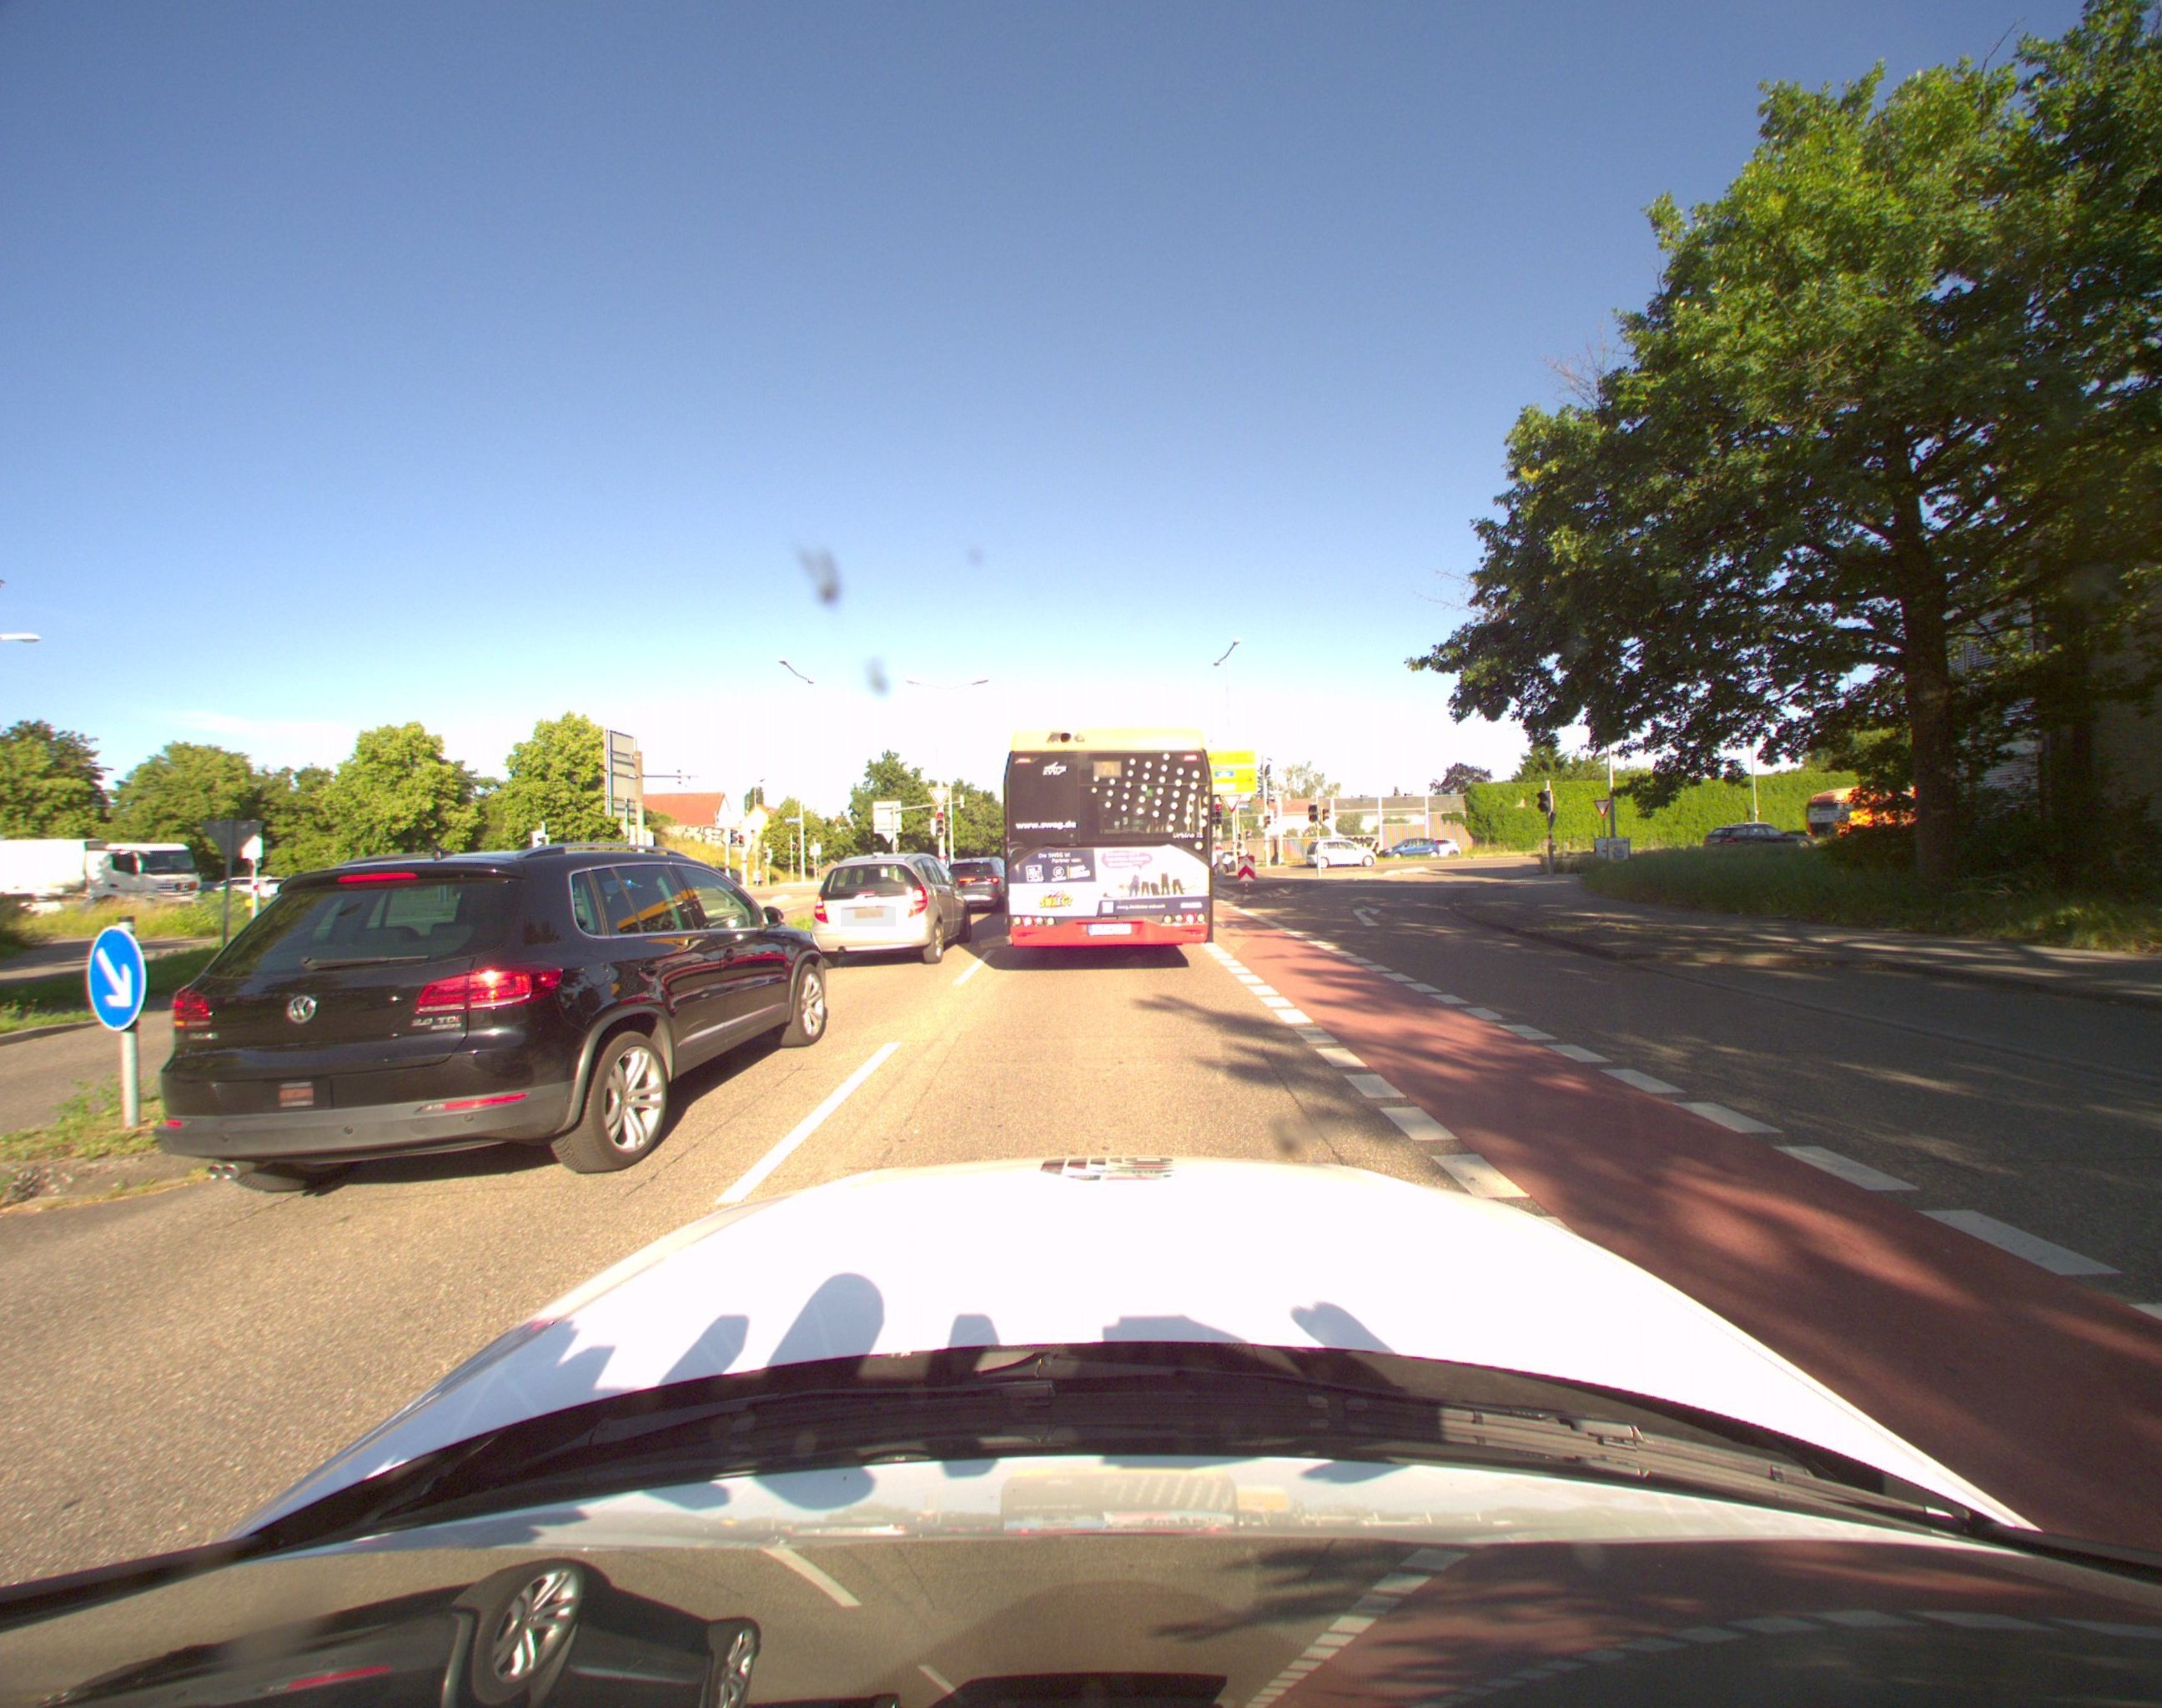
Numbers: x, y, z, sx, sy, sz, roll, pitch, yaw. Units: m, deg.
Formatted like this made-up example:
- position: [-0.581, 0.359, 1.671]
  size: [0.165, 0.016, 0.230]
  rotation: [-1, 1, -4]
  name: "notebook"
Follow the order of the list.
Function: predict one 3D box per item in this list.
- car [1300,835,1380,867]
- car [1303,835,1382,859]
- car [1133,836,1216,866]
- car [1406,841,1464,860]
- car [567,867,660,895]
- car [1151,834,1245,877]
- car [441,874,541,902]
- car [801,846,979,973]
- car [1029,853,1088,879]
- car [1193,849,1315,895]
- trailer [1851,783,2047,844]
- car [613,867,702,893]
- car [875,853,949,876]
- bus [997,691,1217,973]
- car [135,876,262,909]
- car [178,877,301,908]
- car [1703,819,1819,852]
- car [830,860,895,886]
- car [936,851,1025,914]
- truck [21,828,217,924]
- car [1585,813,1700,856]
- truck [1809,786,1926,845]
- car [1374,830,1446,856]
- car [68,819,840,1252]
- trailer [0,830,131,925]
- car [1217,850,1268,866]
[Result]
- position: [13.509, -0.144, 42.599]
  size: [3.664, 1.485, 1.591]
  rotation: [-2, -1, -5]
  name: "car"
- position: [15.437, -0.405, 48.211]
  size: [4.148, 1.302, 1.574]
  rotation: [-1, -1, -2]
  name: "car"
- position: [5.021, -0.161, 43.972]
  size: [4.212, 1.562, 1.761]
  rotation: [-1, -1, -3]
  name: "car"
- position: [25.696, -0.269, 59.178]
  size: [3.571, 1.265, 1.353]
  rotation: [-1, 0, 0]
  name: "car"
- position: [-24.266, 1.388, 42.376]
  size: [3.842, 1.385, 1.678]
  rotation: [-1, -1, -7]
  name: "car"
- position: [5.440, 0.071, 38.041]
  size: [4.108, 1.801, 1.454]
  rotation: [-2, -1, -8]
  name: "car"
- position: [-29.983, 1.697, 41.456]
  size: [3.842, 1.313, 1.504]
  rotation: [-1, -1, -7]
  name: "car"
- position: [-2.840, 0.736, 13.060]
  size: [1.747, 1.620, 4.035]
  rotation: [-2, 1, 2]
  name: "car"
- position: [-1.592, 0.794, 56.051]
  size: [3.979, 1.612, 1.693]
  rotation: [-2, 0, -4]
  name: "car"
- position: [5.241, 0.529, 24.862]
  size: [3.500, 1.302, 1.579]
  rotation: [-1, 1, 10]
  name: "car"
- position: [63.290, -2.943, 59.451]
  size: [12.712, 4.030, 2.466]
  rotation: [-2, 0, -5]
  name: "trailer"
- position: [-25.060, 1.501, 48.295]
  size: [4.410, 1.459, 1.571]
  rotation: [-1, -1, -8]
  name: "car"
- position: [-10.440, 0.651, 50.489]
  size: [4.277, 1.302, 1.574]
  rotation: [-2, 0, -2]
  name: "car"
- position: [0.496, -0.283, 15.699]
  size: [2.586, 3.334, 11.988]
  rotation: [-1, 0, 2]
  name: "bus"
- position: [-40.398, 1.753, 37.351]
  size: [3.843, 1.313, 1.504]
  rotation: [-2, -1, -7]
  name: "car"
- position: [-47.370, 2.151, 45.935]
  size: [4.690, 1.540, 1.998]
  rotation: [-2, 0, -2]
  name: "car"
- position: [33.933, -0.891, 40.691]
  size: [4.450, 1.441, 1.681]
  rotation: [-2, 0, -2]
  name: "car"
- position: [-14.822, 1.274, 55.418]
  size: [3.979, 1.612, 1.693]
  rotation: [-2, 0, -4]
  name: "car"
- position: [-2.593, 0.713, 21.787]
  size: [1.581, 1.485, 3.687]
  rotation: [-2, -1, 4]
  name: "car"
- position: [-40.044, 0.872, 34.052]
  size: [4.798, 3.695, 2.404]
  rotation: [-2, 0, -8]
  name: "truck"
- position: [17.962, -0.594, 26.035]
  size: [3.412, 1.296, 1.449]
  rotation: [0, -1, -24]
  name: "car"
- position: [56.834, -2.769, 58.896]
  size: [6.387, 3.998, 2.468]
  rotation: [-2, 0, -5]
  name: "truck"
- position: [21.154, -0.701, 52.456]
  size: [3.980, 1.553, 1.693]
  rotation: [-1, -1, -5]
  name: "car"
- position: [-3.169, 0.767, 5.332]
  size: [1.814, 1.673, 4.004]
  rotation: [-3, -1, 1]
  name: "car"
- position: [-46.568, 1.073, 33.251]
  size: [11.461, 3.696, 2.390]
  rotation: [-2, 0, -6]
  name: "trailer"
- position: [12.260, 0.290, 61.894]
  size: [3.734, 1.136, 1.579]
  rotation: [-2, 0, 9]
  name: "car"
